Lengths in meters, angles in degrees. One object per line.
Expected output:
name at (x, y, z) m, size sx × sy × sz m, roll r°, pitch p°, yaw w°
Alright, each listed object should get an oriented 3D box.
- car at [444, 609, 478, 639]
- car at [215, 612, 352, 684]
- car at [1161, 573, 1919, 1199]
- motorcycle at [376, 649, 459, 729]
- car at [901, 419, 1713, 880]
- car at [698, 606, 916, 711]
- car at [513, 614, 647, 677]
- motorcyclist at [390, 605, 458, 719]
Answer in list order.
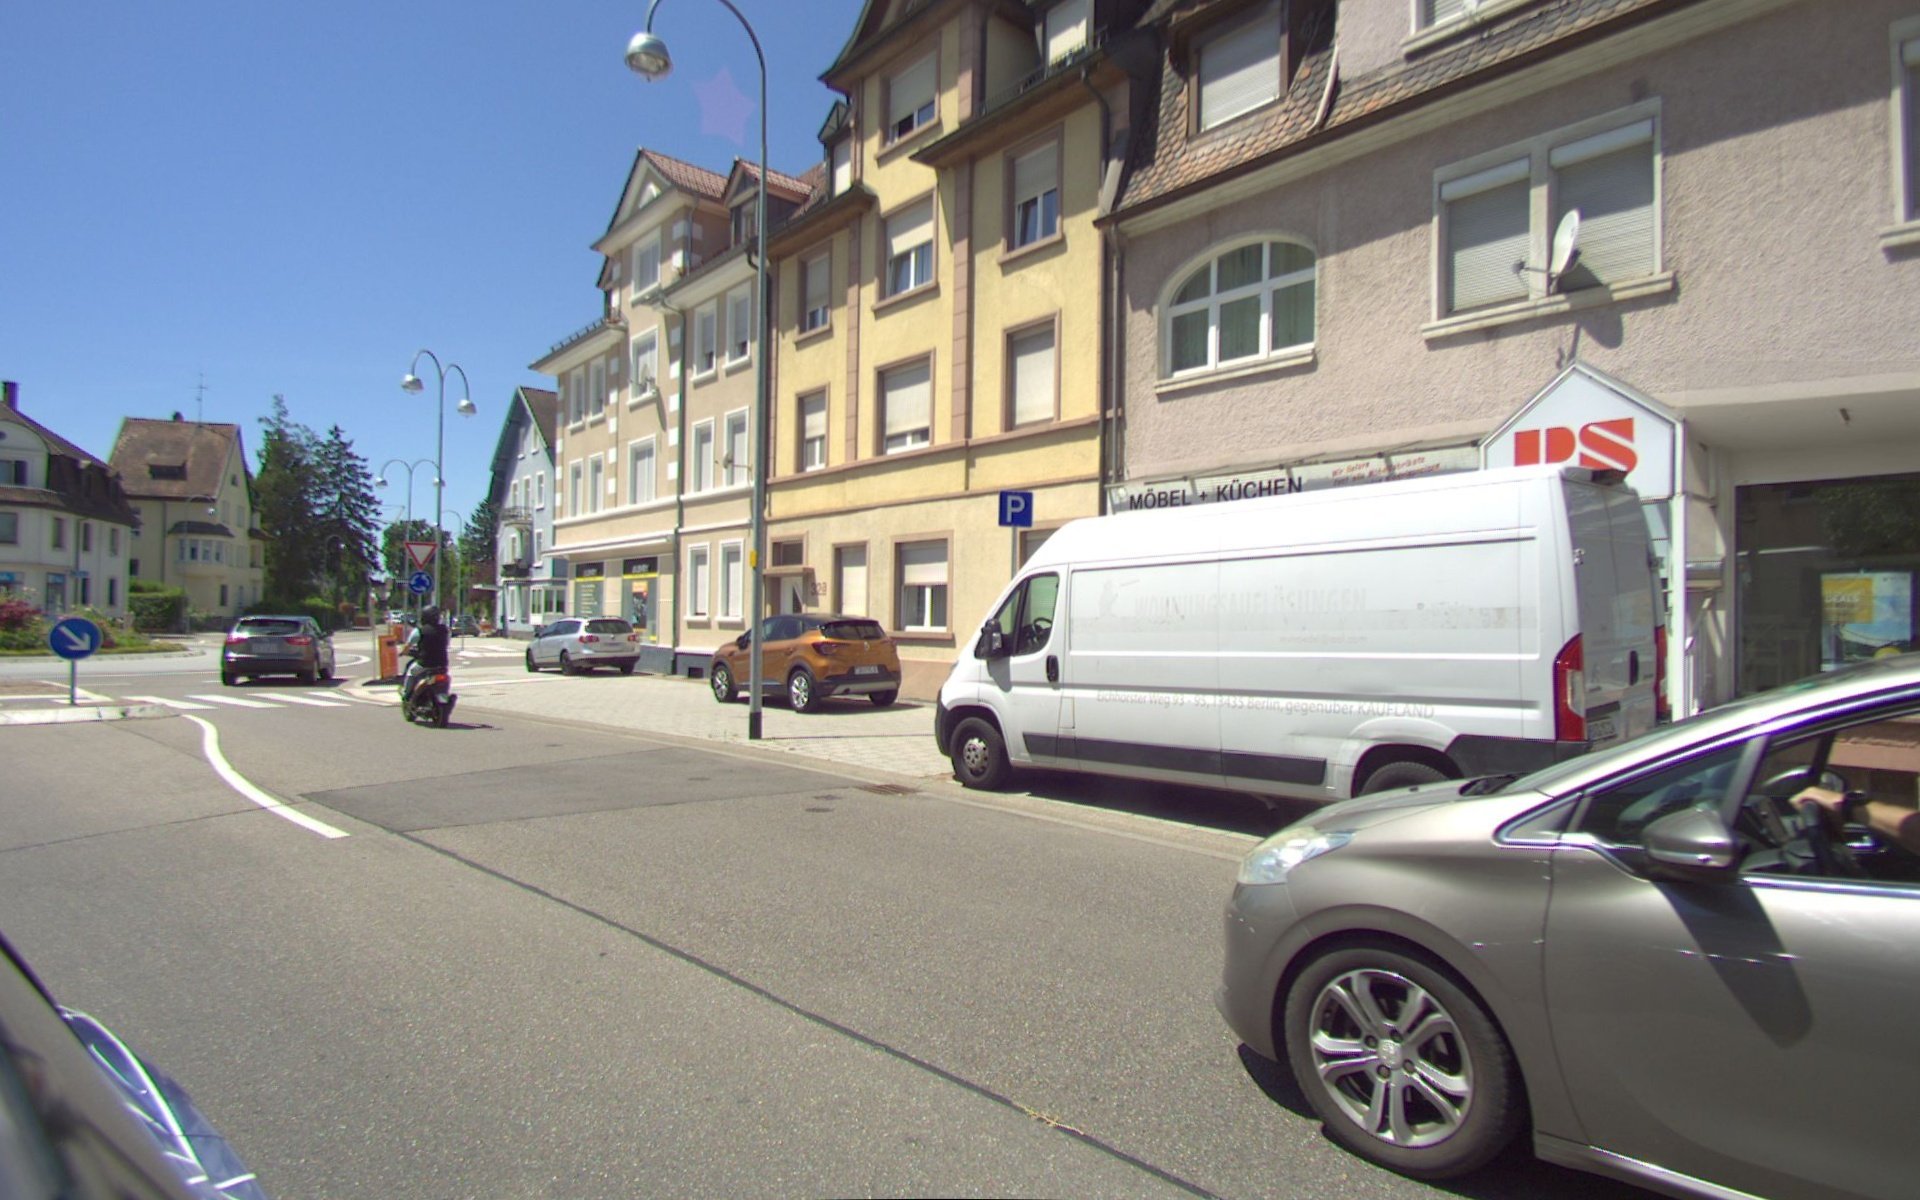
car at (-34.766, 1.656, 70.581) m, size 1.965 × 1.861 × 4.014 m, roll 1°, pitch 2°, yaw -24°
car at (-15.957, 1.099, 24.114) m, size 1.770 × 1.500 × 4.404 m, roll 3°, pitch -2°, yaw -22°
car at (2.602, 0.695, 2.209) m, size 1.710 × 1.422 × 4.003 m, roll 4°, pitch -4°, yaw -43°
motorcycle at (-7.708, 1.228, 14.353) m, size 0.599 × 1.008 × 1.801 m, roll 2°, pitch -2°, yaw -42°
car at (2.241, 0.289, 8.406) m, size 2.093 × 2.468 × 6.125 m, roll -1°, pitch 0°, yaw -42°
car at (-2.724, 0.914, 17.341) m, size 1.772 × 1.553 × 4.121 m, roll 0°, pitch -1°, yaw -41°
car at (-10.223, 1.151, 26.984) m, size 1.772 × 1.514 × 4.954 m, roll 0°, pitch -1°, yaw -40°
motorcyclist at (-7.511, 0.843, 14.171) m, size 0.594 × 1.536 × 0.896 m, roll 2°, pitch -2°, yaw -43°
